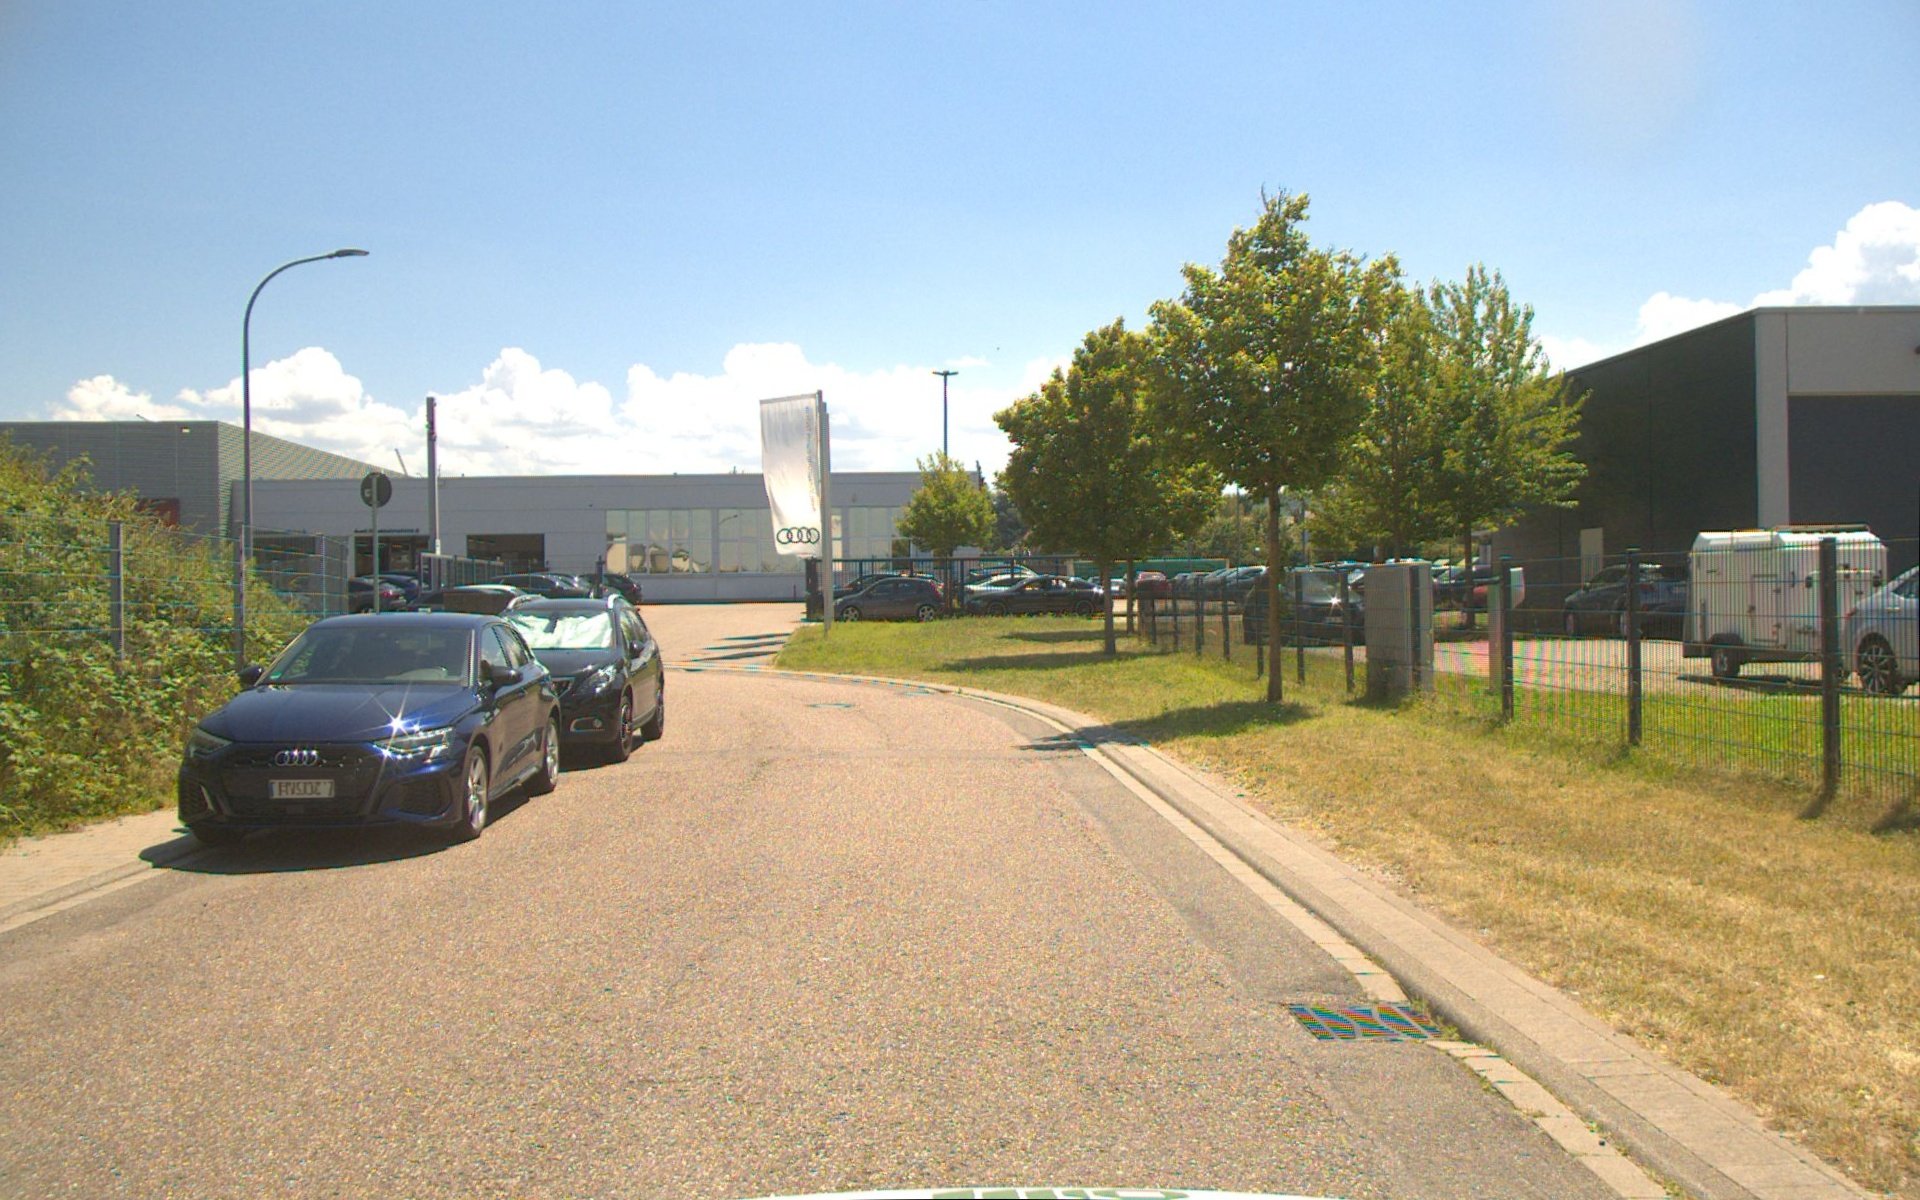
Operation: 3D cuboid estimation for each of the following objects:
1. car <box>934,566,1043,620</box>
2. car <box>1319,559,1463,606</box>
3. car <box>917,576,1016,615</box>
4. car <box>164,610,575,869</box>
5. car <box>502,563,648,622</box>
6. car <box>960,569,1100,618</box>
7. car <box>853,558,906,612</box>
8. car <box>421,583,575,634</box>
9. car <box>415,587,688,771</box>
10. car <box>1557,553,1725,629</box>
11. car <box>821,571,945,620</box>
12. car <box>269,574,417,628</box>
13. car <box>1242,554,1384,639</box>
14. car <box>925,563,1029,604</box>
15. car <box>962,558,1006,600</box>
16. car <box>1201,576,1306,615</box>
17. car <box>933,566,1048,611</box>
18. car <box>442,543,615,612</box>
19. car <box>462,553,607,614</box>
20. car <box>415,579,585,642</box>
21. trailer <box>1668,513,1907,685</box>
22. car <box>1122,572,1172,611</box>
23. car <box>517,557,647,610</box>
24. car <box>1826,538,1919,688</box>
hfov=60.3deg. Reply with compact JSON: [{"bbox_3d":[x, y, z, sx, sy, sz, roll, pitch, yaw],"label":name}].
[{"bbox_3d":[1.039,-0.258,62.163,3.908,1.859,1.998,-1,-2,-4],"label":"car"},{"bbox_3d":[14.697,-0.591,56.566,4.350,1.423,1.998,-1,-2,-4],"label":"car"},{"bbox_3d":[0.246,-0.166,67.770,3.908,1.423,1.998,-1,-2,-4],"label":"car"},{"bbox_3d":[-3.925,0.821,11.725,1.623,1.442,4.142,-2,0,-4],"label":"car"},{"bbox_3d":[-13.817,-0.272,59.552,4.786,1.956,1.999,-2,0,-3],"label":"car"},{"bbox_3d":[2.238,-0.191,53.955,4.350,1.423,1.998,-1,-2,-4],"label":"car"},{"bbox_3d":[-3.148,-0.555,63.955,1.954,1.859,3.996,-1,-2,-4],"label":"car"},{"bbox_3d":[-14.644,0.282,52.571,4.350,1.423,1.998,-1,-2,-4],"label":"car"},{"bbox_3d":[-3.988,0.704,16.867,1.797,1.573,4.263,-2,0,-2],"label":"car"},{"bbox_3d":[13.898,-0.204,33.978,1.702,1.431,3.694,-2,1,-4],"label":"car"},{"bbox_3d":[-2.519,-0.126,53.923,3.908,1.423,1.998,-1,-2,-4],"label":"car"},{"bbox_3d":[-21.141,0.043,56.826,4.350,1.655,1.998,-1,-2,-4],"label":"car"},{"bbox_3d":[6.997,-0.083,33.186,1.702,1.549,3.892,-2,0,-5],"label":"car"},{"bbox_3d":[0.637,-0.641,64.671,3.908,1.423,1.998,-1,-2,-4],"label":"car"},{"bbox_3d":[1.184,-1.031,82.488,1.953,1.859,3.997,-1,-2,-2],"label":"car"},{"bbox_3d":[12.251,-0.179,69.213,3.908,1.423,1.998,-1,-2,-4],"label":"car"},{"bbox_3d":[1.044,-0.394,58.844,3.908,1.423,1.998,-1,-2,-4],"label":"car"},{"bbox_3d":[-14.367,-0.753,55.282,5.212,2.134,1.999,-2,0,-3],"label":"car"},{"bbox_3d":[-14.709,-0.556,57.416,4.495,1.956,1.999,-2,0,-3],"label":"car"},{"bbox_3d":[-13.222,0.313,47.754,4.350,1.655,1.998,-1,-2,-4],"label":"car"},{"bbox_3d":[10.714,-0.086,21.648,1.462,2.041,3.264,-2,2,0],"label":"trailer"},{"bbox_3d":[9.744,-0.431,86.509,1.953,1.859,3.997,-1,-2,-2],"label":"car"},{"bbox_3d":[-15.211,-0.658,66.780,4.786,1.956,1.999,-2,0,-3],"label":"car"},{"bbox_3d":[10.918,0.078,16.526,1.844,1.549,4.463,-2,-3,-5],"label":"car"}]
